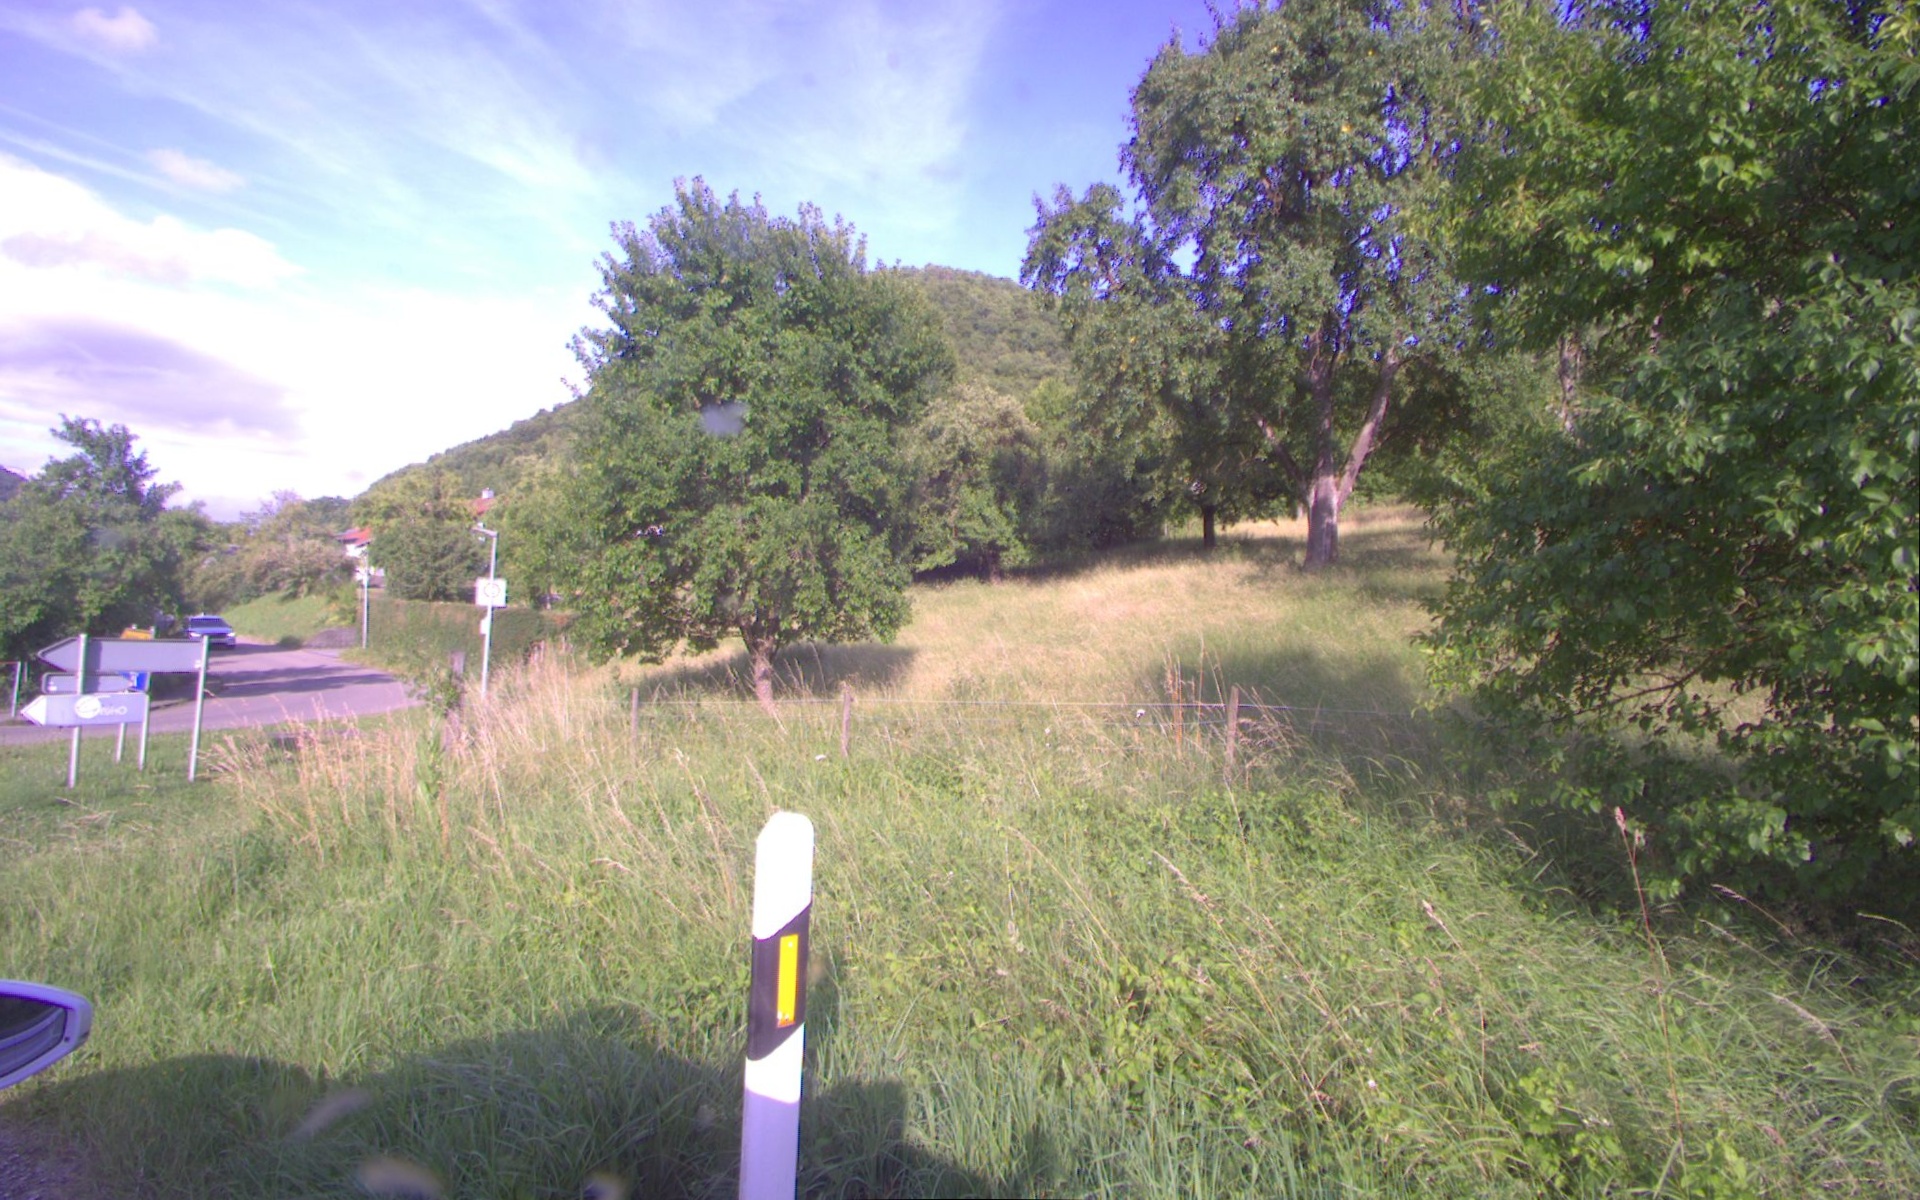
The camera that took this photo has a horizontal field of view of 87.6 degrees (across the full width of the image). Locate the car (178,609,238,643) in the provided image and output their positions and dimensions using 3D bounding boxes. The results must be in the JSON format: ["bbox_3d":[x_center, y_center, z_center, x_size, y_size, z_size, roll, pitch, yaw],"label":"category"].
[{"bbox_3d":[-37.480,1.276,49.884,1.856,1.631,4.526,2,-2,-44],"label":"car"}]
